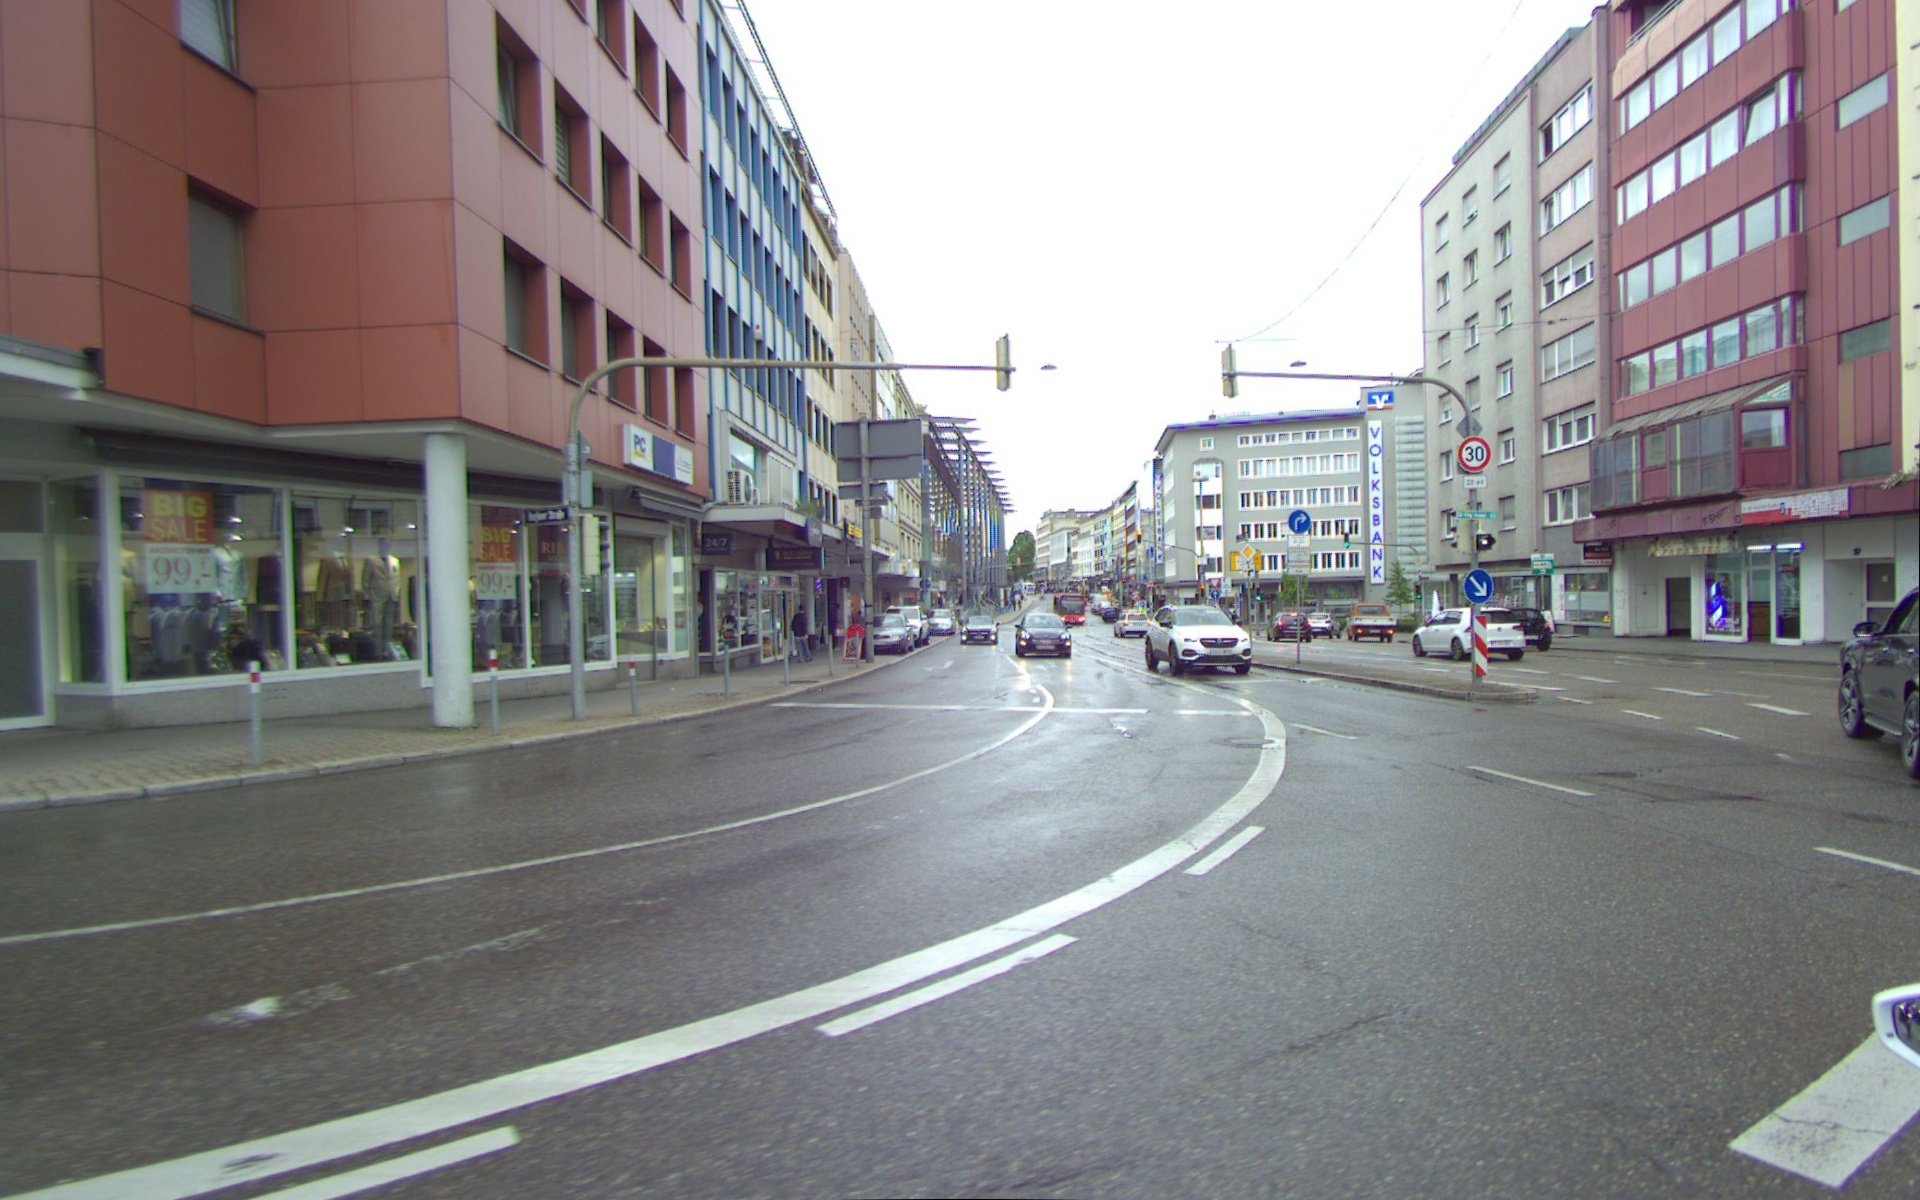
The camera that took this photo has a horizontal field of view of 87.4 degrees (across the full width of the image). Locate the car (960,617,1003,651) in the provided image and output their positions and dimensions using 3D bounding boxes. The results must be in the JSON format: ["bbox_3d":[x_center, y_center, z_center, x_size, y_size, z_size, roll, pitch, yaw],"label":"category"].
[{"bbox_3d":[0.987,1.605,48.232,1.961,1.501,4.736,-1,-1,0],"label":"car"}]

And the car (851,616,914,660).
[{"bbox_3d":[-2.780,1.336,36.893,1.961,1.426,4.735,0,0,0],"label":"car"}]

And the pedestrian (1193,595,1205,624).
[{"bbox_3d":[16.953,0.700,71.254,0.797,2.040,0.855,0,-1,14],"label":"pedestrian"}]

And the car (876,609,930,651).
[{"bbox_3d":[-2.391,1.238,43.322,1.960,1.640,4.736,0,0,1],"label":"car"}]

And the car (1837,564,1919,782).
[{"bbox_3d":[9.920,0.576,9.406,2.011,1.823,4.648,0,1,34],"label":"car"}]

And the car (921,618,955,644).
[{"bbox_3d":[-1.343,1.923,62.512,1.961,1.501,4.736,-1,-1,0],"label":"car"}]

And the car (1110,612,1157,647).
[{"bbox_3d":[10.071,1.675,58.650,1.960,1.813,4.736,1,1,1],"label":"car"}]

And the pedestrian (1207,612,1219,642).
[{"bbox_3d":[17.330,1.861,68.767,0.797,2.040,0.855,0,-1,14],"label":"pedestrian"}]

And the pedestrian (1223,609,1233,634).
[{"bbox_3d":[22.304,1.801,83.637,0.797,2.040,0.855,0,-1,14],"label":"pedestrian"}]

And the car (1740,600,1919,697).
[{"bbox_3d":[14.593,0.762,16.511,1.738,1.416,3.999,0,-2,22],"label":"car"}]

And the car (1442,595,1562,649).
[{"bbox_3d":[18.619,0.697,34.742,1.793,1.680,4.496,2,0,2],"label":"car"}]

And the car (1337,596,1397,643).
[{"bbox_3d":[21.069,0.967,52.180,2.204,2.257,5.430,2,0,15],"label":"car"}]

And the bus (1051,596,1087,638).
[{"bbox_3d":[11.108,1.831,102.941,2.861,4.005,9.489,-1,-2,2],"label":"bus"}]

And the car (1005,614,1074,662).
[{"bbox_3d":[2.687,1.275,34.925,1.961,1.501,4.736,-1,-1,0],"label":"car"}]

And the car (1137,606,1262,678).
[{"bbox_3d":[5.838,1.007,25.128,1.961,1.577,4.736,-1,-1,0],"label":"car"}]

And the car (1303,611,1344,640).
[{"bbox_3d":[21.352,1.466,58.942,1.894,1.535,4.660,3,1,23],"label":"car"}]

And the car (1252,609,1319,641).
[{"bbox_3d":[16.236,1.269,50.300,1.960,1.505,4.237,1,-1,0],"label":"car"}]

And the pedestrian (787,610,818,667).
[{"bbox_3d":[-4.687,1.141,29.887,0.814,1.647,0.723,0,0,-1],"label":"pedestrian"}]

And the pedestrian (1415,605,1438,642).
[{"bbox_3d":[25.866,1.310,55.645,0.843,2.040,0.809,1,-1,-25],"label":"pedestrian"}]

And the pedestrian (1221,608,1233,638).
[{"bbox_3d":[18.527,1.572,69.700,0.797,2.040,0.855,0,-1,14],"label":"pedestrian"}]

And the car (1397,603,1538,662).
[{"bbox_3d":[14.560,0.876,29.097,1.842,1.515,4.400,1,0,0],"label":"car"}]

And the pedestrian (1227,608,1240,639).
[{"bbox_3d":[18.385,1.558,67.533,0.797,2.040,0.855,0,-1,14],"label":"pedestrian"}]
